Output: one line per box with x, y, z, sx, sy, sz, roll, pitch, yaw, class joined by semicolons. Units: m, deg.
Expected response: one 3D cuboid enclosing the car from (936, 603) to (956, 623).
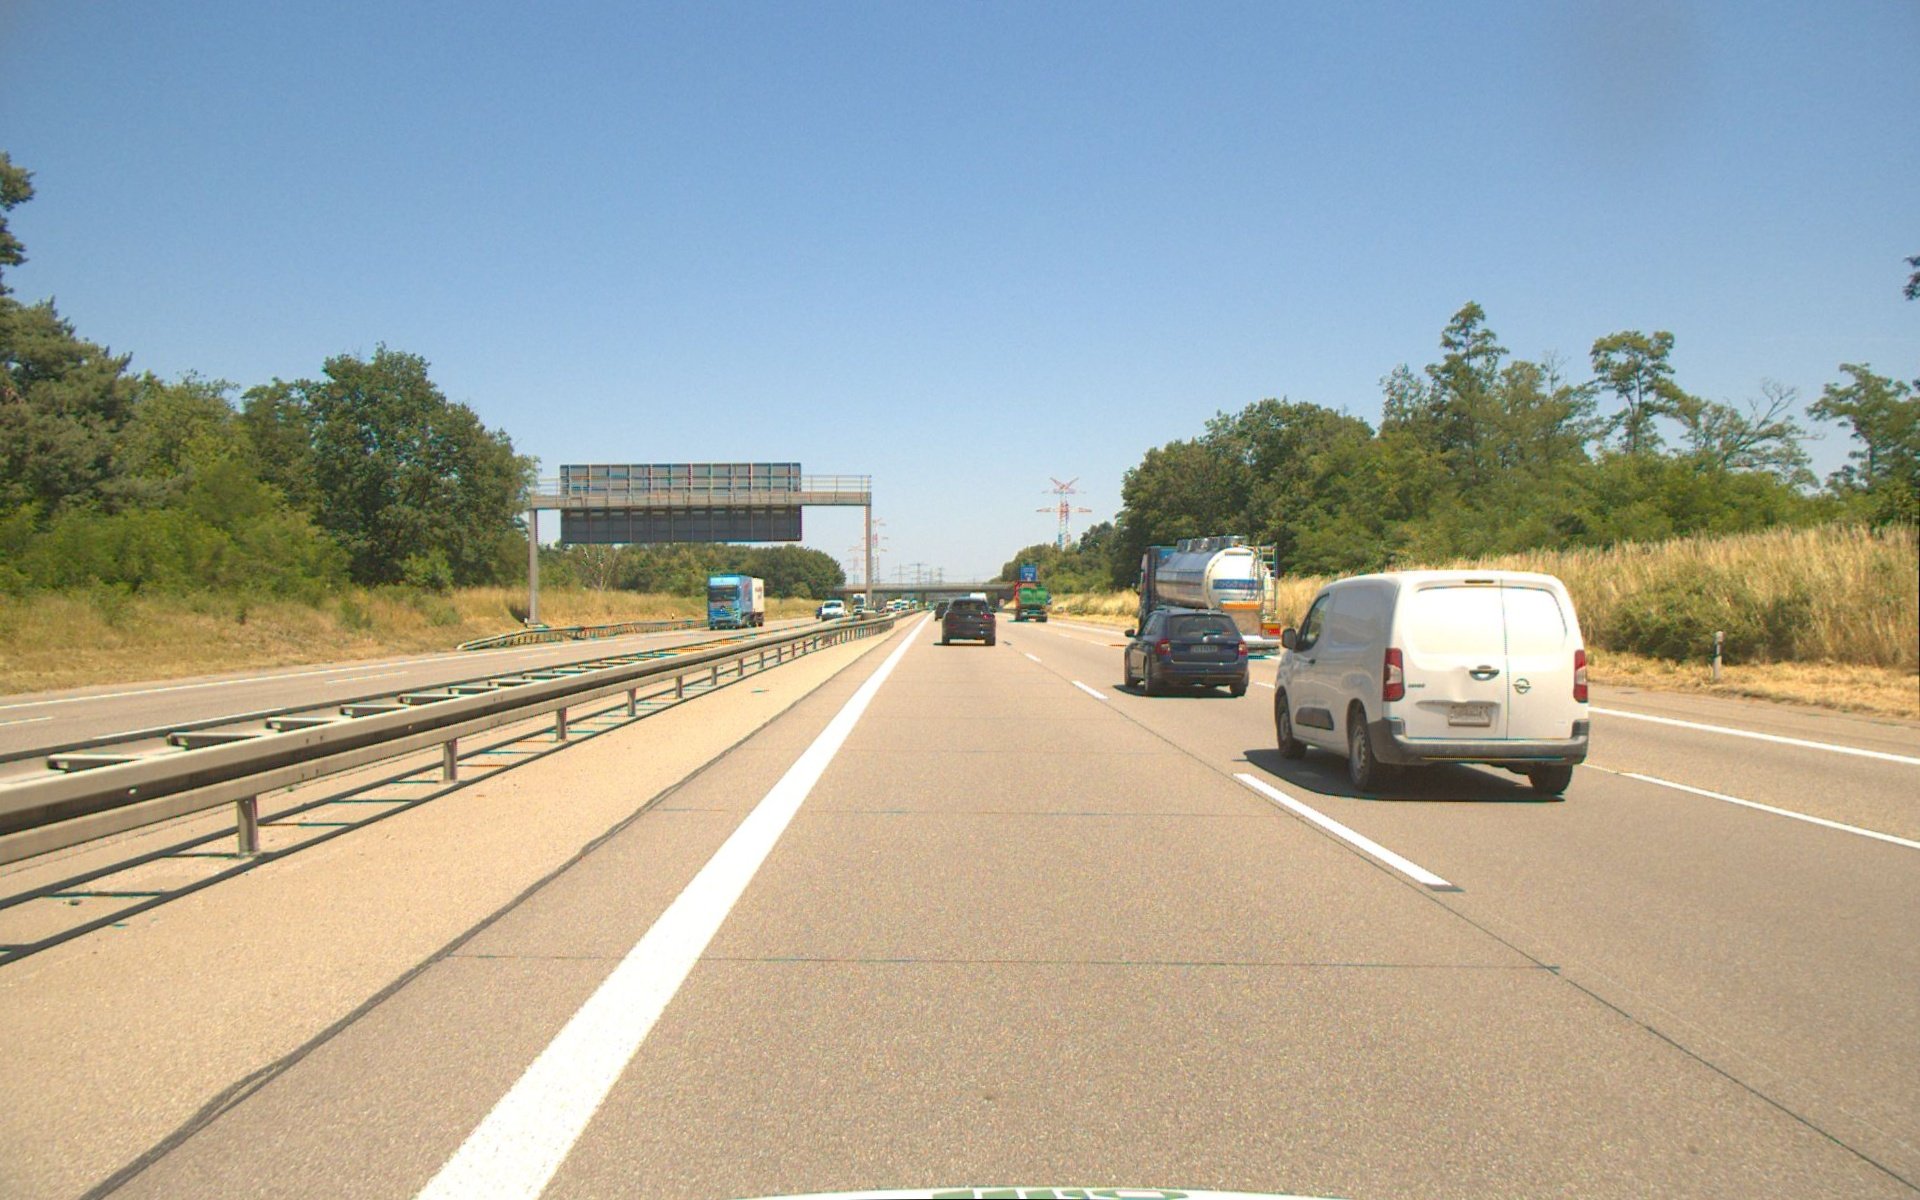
-1.309;1.167;149.504;1.758;1.780;3.999;1;0;-1;car

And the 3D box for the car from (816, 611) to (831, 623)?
-19.283;2.358;233.193;1.794;1.581;4.948;-2;0;-1;car

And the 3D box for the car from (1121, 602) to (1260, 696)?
3.982;0.817;29.220;1.765;1.509;4.270;1;0;-1;car

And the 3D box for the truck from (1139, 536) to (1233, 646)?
8.198;-0.297;60.562;2.477;3.799;6.097;1;0;-1;truck

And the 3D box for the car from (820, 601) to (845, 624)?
-10.868;1.062;140.902;1.794;1.887;5.235;-2;0;-1;car

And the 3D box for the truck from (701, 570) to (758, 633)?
-18.049;0.109;130.063;2.996;4.638;10.457;-1;0;-1;truck

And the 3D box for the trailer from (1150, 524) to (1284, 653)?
8.269;-0.320;54.773;2.477;3.799;11.546;1;0;-1;trailer

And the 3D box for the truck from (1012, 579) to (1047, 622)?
6.515;0.108;156.493;2.626;3.864;12.476;1;0;-1;truck

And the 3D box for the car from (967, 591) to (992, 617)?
2.116;0.449;181.191;2.567;2.807;6.095;1;0;-1;car

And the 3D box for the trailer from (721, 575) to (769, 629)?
-18.190;0.160;140.523;2.996;4.358;8.633;-1;0;-1;trailer

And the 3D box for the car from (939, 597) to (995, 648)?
0.236;0.822;61.113;1.953;1.780;3.999;1;0;-1;car

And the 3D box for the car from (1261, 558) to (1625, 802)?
4.172;0.629;15.217;1.828;1.849;4.940;1;0;-1;car
